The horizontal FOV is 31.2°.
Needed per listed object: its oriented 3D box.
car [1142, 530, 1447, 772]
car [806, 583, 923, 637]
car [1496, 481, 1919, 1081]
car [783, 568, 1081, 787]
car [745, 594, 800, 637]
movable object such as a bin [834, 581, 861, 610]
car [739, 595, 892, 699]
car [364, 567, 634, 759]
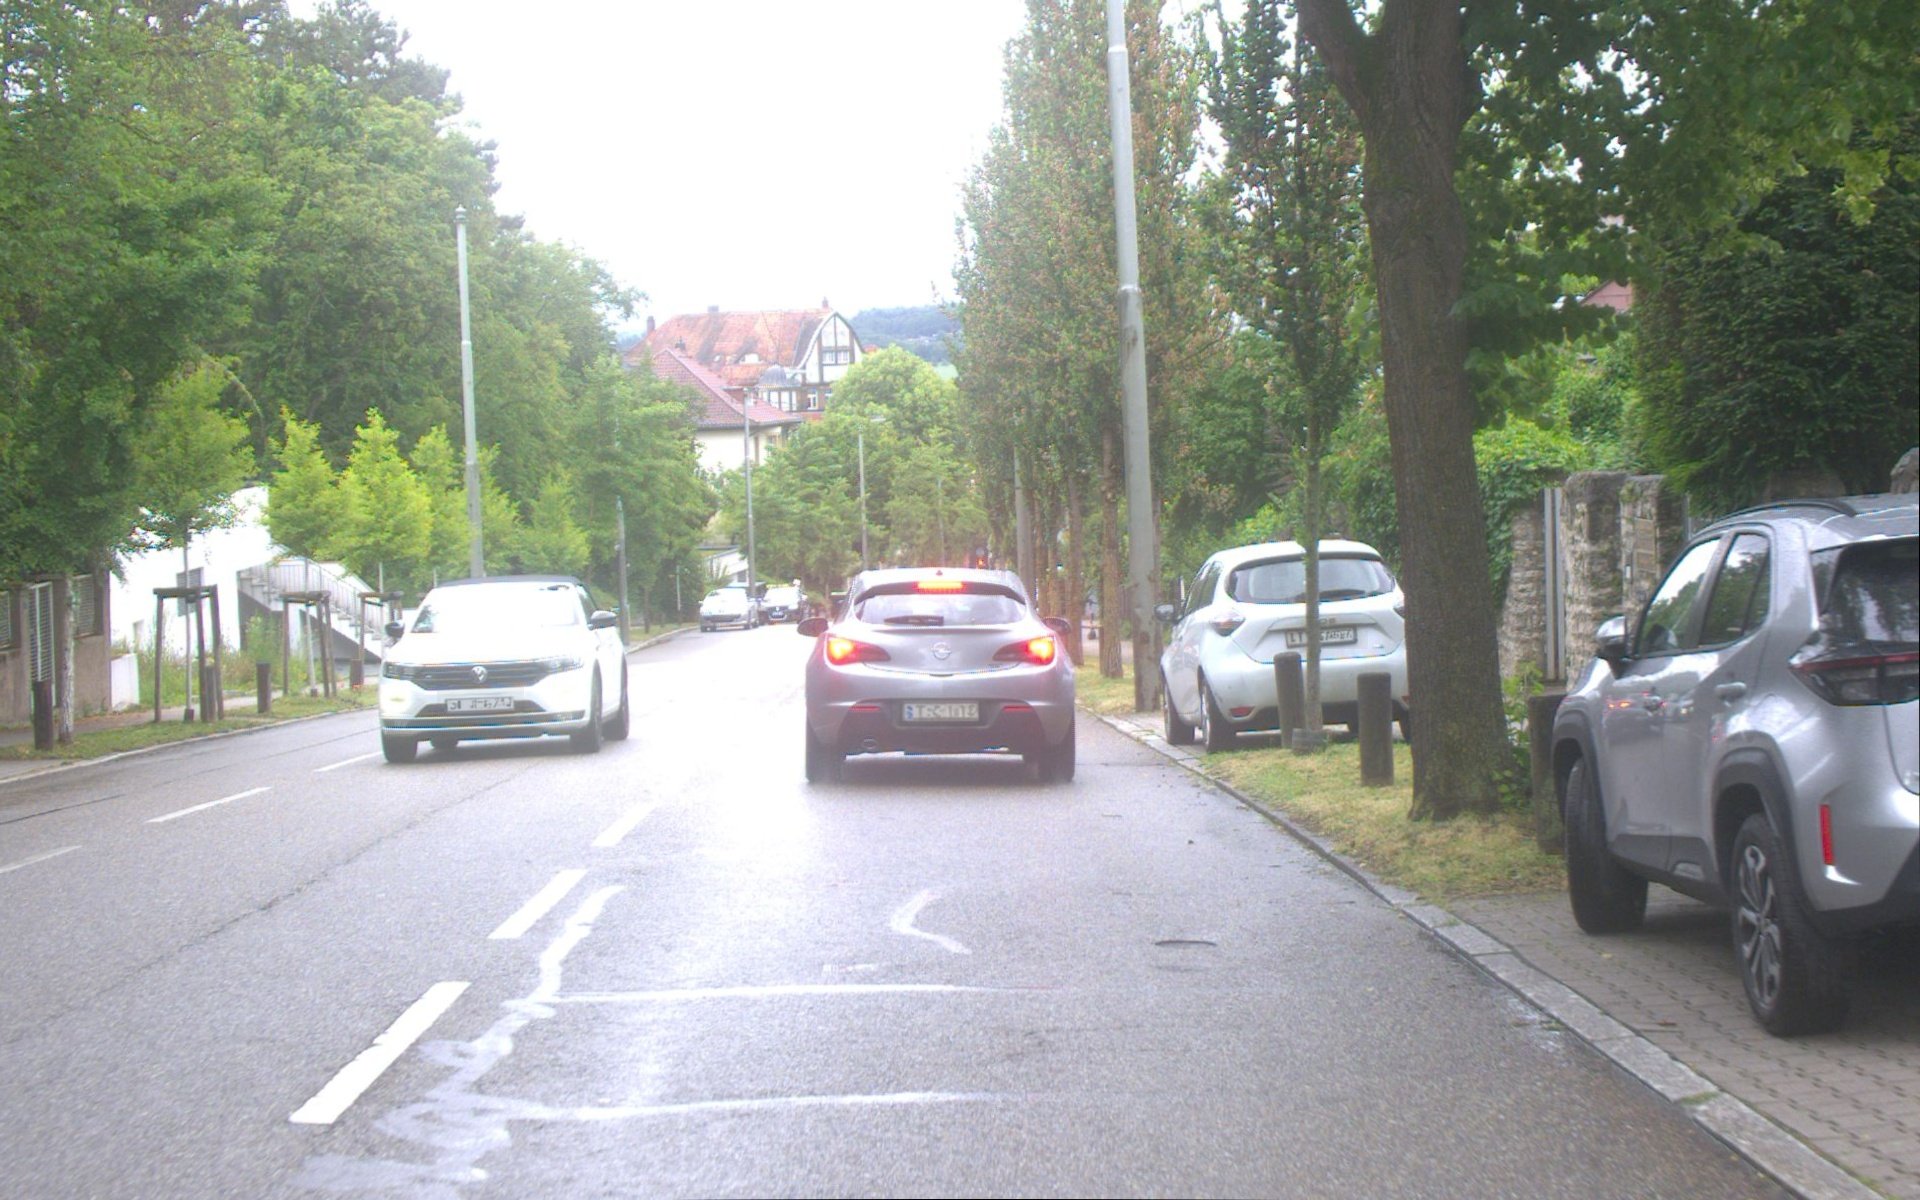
[{"bbox_3d":[2.516,0.334,26.740,1.824,1.624,4.000,-4,1,-1],"label":"car"},{"bbox_3d":[-3.242,0.342,115.781,1.994,1.678,4.000,1,1,-36],"label":"car"},{"bbox_3d":[3.140,0.410,11.437,1.918,1.562,4.220,-3,2,-1],"label":"car"},{"bbox_3d":[-0.209,0.522,24.406,1.945,1.427,3.884,0,0,-1],"label":"car"},{"bbox_3d":[-7.071,0.559,130.143,1.745,1.544,3.918,1,0,1],"label":"car"},{"bbox_3d":[-5.534,-0.229,168.463,1.272,1.382,0.489,0,1,4],"label":"movable object such as a bin"},{"bbox_3d":[-1.888,0.603,45.984,1.798,1.318,4.000,0,0,1],"label":"car"},{"bbox_3d":[-3.883,0.521,29.563,1.793,1.504,4.093,-1,-1,-1],"label":"car"}]
